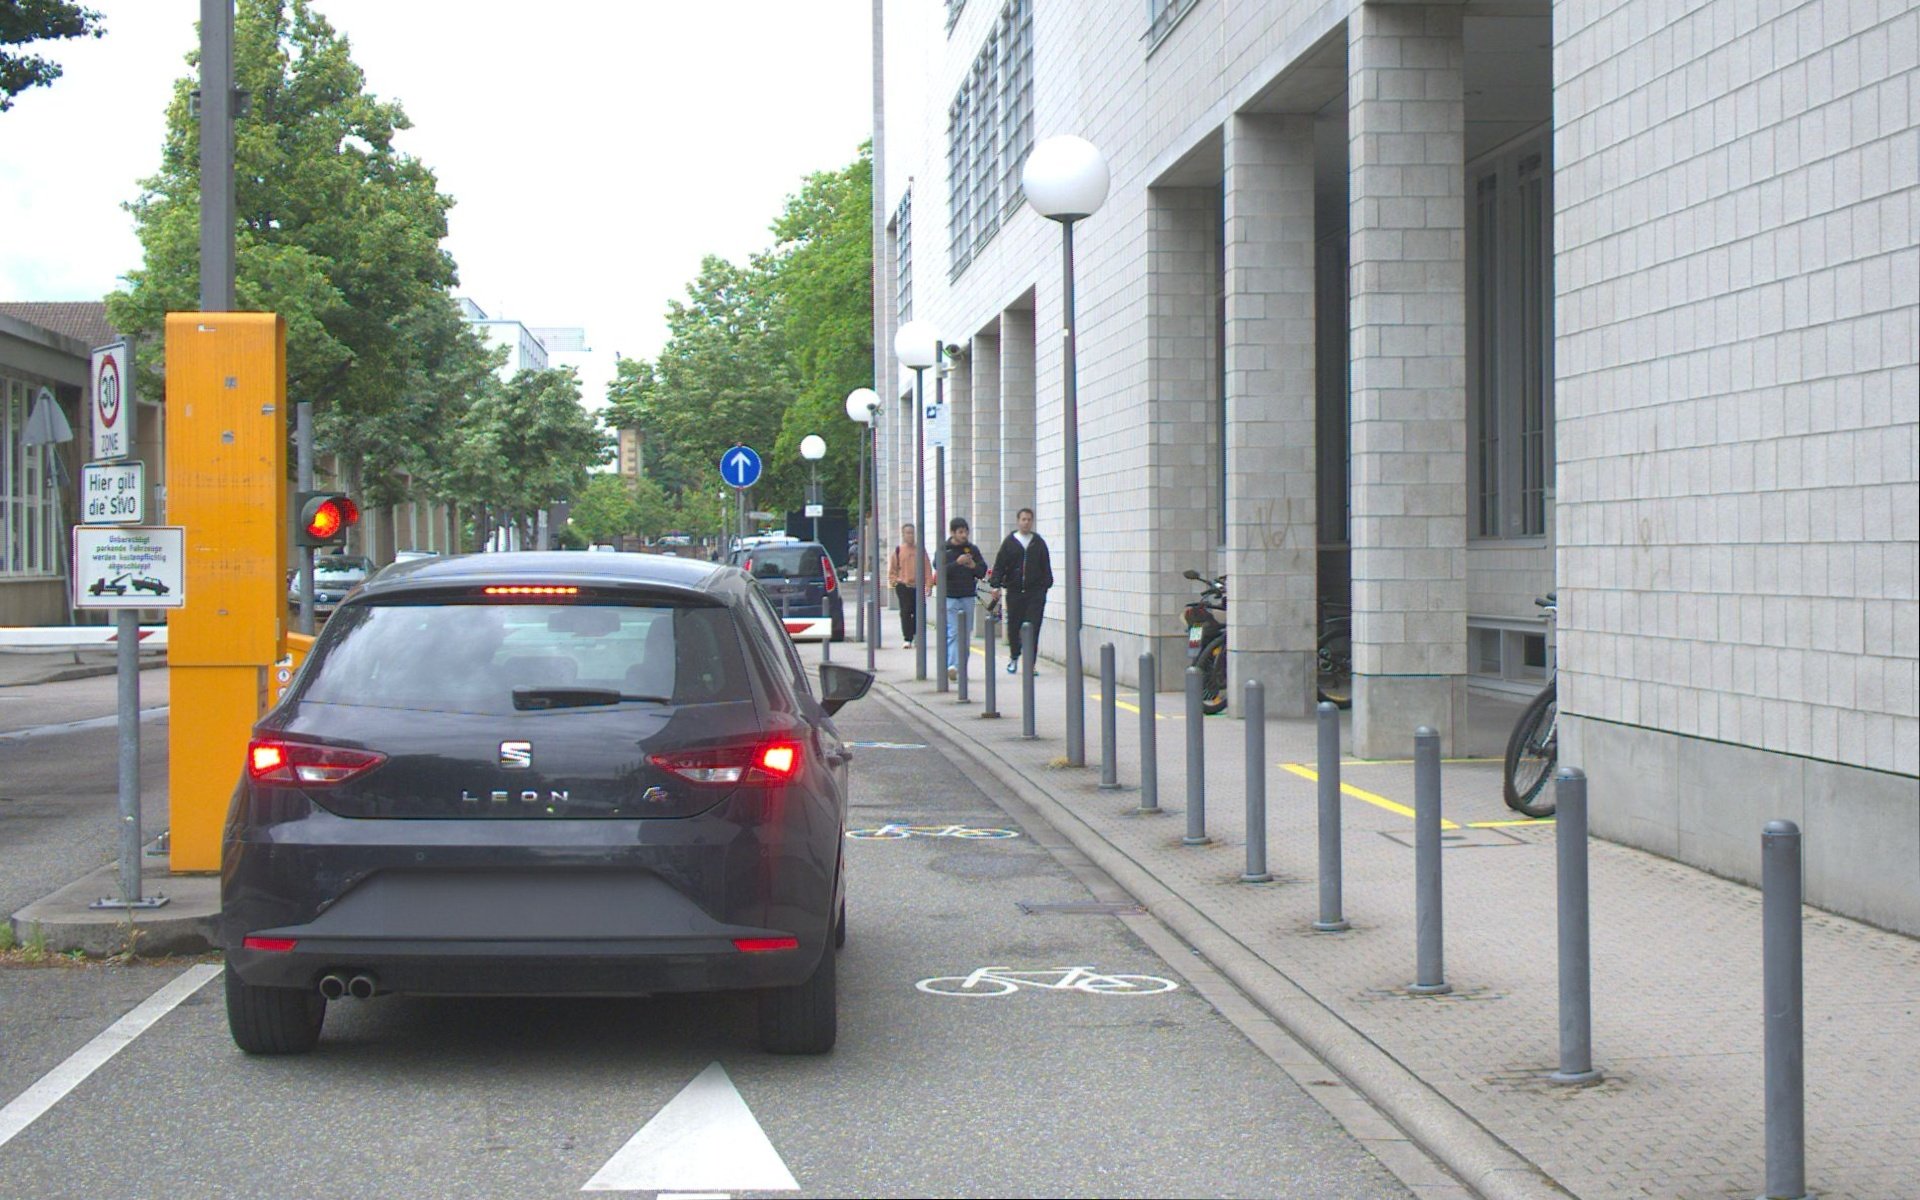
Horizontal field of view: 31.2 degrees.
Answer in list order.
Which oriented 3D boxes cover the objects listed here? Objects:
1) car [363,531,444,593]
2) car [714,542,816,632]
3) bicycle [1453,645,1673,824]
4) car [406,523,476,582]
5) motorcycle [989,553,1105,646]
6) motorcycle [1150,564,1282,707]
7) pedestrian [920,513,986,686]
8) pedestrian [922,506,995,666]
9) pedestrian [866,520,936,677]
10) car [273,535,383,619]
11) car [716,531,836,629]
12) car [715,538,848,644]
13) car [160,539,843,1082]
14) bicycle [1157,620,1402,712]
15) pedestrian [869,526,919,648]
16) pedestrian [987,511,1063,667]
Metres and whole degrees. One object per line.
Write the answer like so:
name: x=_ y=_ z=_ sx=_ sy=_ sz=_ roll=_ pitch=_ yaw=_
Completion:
car: x=-14.606 y=-1.005 z=90.364 sx=1.770 sy=1.595 sz=4.001 roll=0 pitch=1 yaw=-4
car: x=-4.151 y=-0.297 z=72.654 sx=1.993 sy=1.776 sz=4.429 roll=-2 pitch=1 yaw=-4
bicycle: x=3.154 y=0.673 z=17.815 sx=0.463 sy=0.749 sz=2.292 roll=-4 pitch=0 yaw=26
car: x=-14.451 y=-1.332 z=95.885 sx=1.770 sy=1.595 sz=4.001 roll=0 pitch=1 yaw=-6
motorcycle: x=1.227 y=-0.023 z=47.625 sx=0.760 sy=1.144 sz=2.660 roll=2 pitch=3 yaw=20
motorcycle: x=2.330 y=0.299 z=31.025 sx=0.566 sy=1.144 sz=2.215 roll=2 pitch=3 yaw=20
pedestrian: x=-0.076 y=-0.010 z=34.405 sx=0.611 sy=1.708 sz=0.575 roll=-1 pitch=1 yaw=-2
pedestrian: x=-0.018 y=-0.154 z=37.074 sx=0.689 sy=1.693 sz=0.588 roll=1 pitch=3 yaw=-7
pedestrian: x=-0.648 y=-0.020 z=37.670 sx=0.696 sy=1.708 sz=0.489 roll=0 pitch=1 yaw=-9
car: x=-12.409 y=-0.482 z=67.668 sx=1.770 sy=1.595 sz=4.001 roll=0 pitch=1 yaw=-5
car: x=-3.281 y=-0.382 z=60.763 sx=1.993 sy=1.617 sz=4.429 roll=-2 pitch=1 yaw=-4
car: x=-2.959 y=-0.158 z=56.246 sx=1.993 sy=1.617 sz=4.429 roll=-1 pitch=0 yaw=-5
car: x=-1.369 y=0.517 z=11.118 sx=1.782 sy=1.414 sz=4.130 roll=0 pitch=1 yaw=-5
bicycle: x=2.588 y=0.536 z=27.908 sx=1.896 sy=0.696 sz=0.493 roll=1 pitch=3 yaw=-7
pedestrian: x=-0.929 y=-0.193 z=48.509 sx=0.696 sy=1.708 sz=0.489 roll=0 pitch=1 yaw=0
pedestrian: x=0.717 y=-0.125 z=38.264 sx=0.727 sy=1.693 sz=0.588 roll=0 pitch=3 yaw=-9
